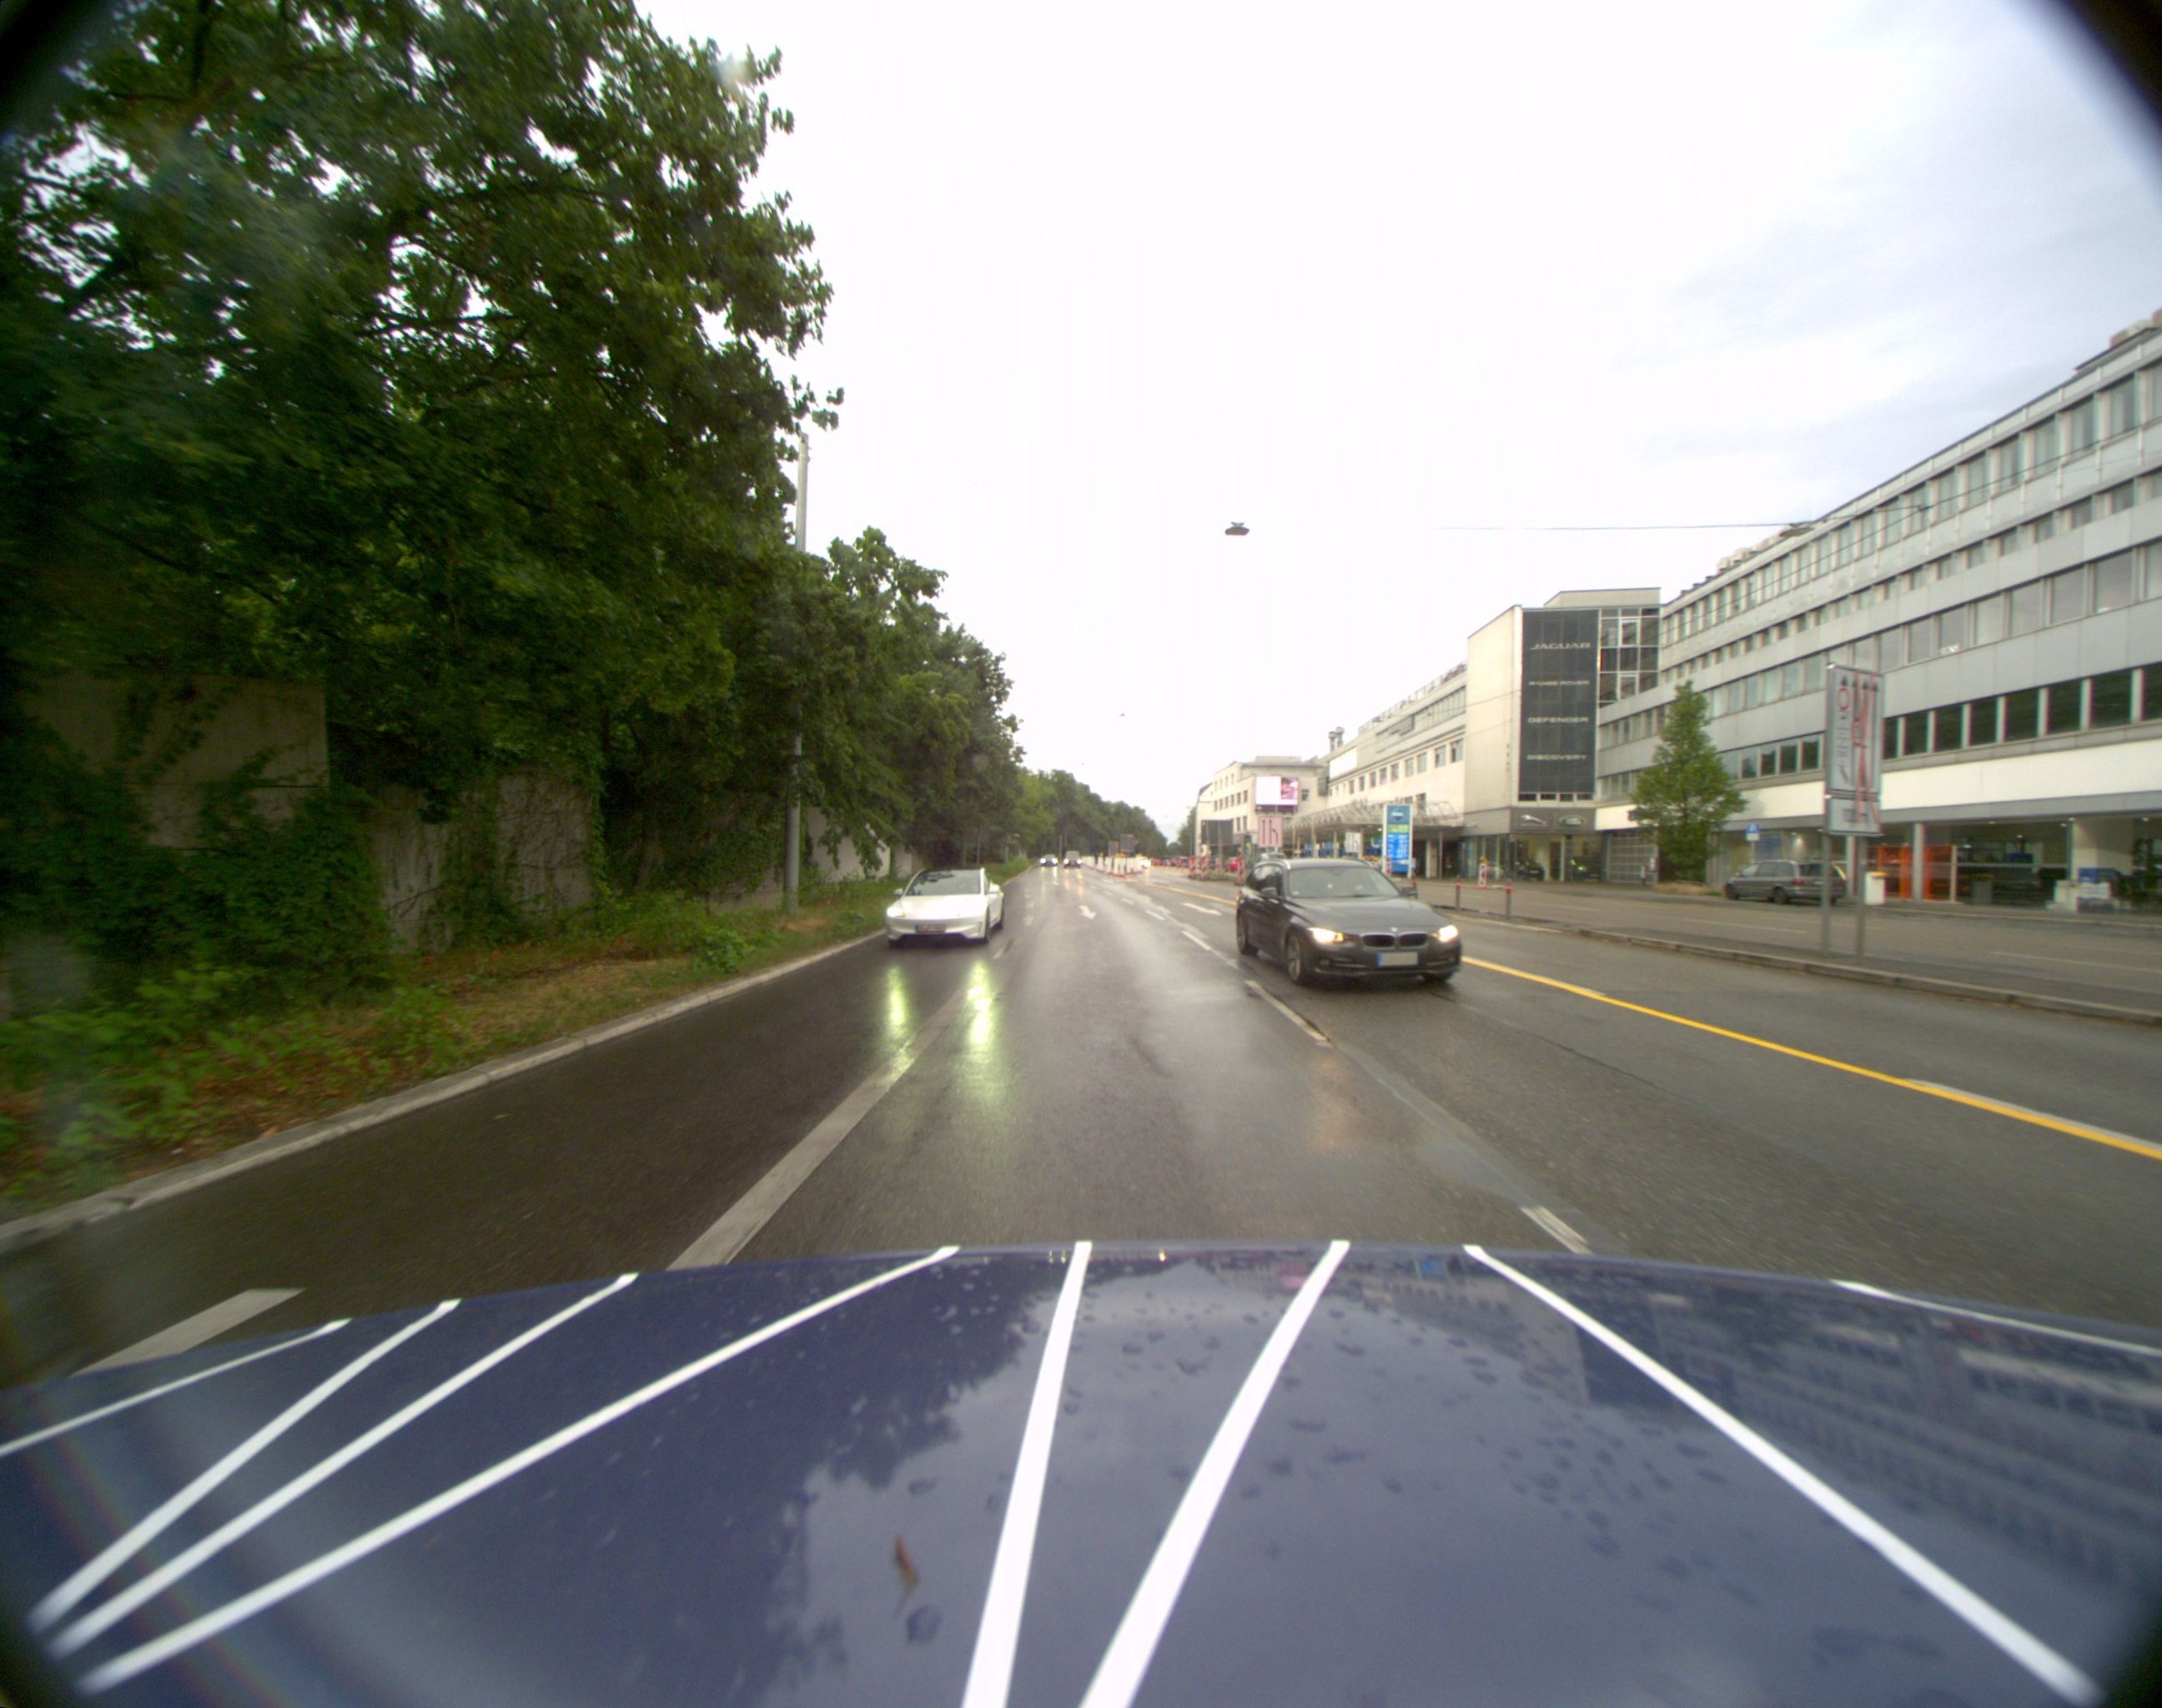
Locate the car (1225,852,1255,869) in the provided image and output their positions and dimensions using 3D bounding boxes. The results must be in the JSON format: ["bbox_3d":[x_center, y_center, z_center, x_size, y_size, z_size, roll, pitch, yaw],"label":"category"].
[{"bbox_3d":[14.993,0.622,71.871,1.834,1.493,4.372,2,0,-1],"label":"car"}]

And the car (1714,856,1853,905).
[{"bbox_3d":[28.500,0.998,31.059,1.851,1.768,4.733,2,0,10],"label":"car"}]

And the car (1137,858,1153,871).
[{"bbox_3d":[7.905,1.267,94.504,1.649,1.477,4.000,2,0,1],"label":"car"}]

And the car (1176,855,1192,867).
[{"bbox_3d":[14.983,1.010,110.710,1.812,1.549,4.301,1,0,1],"label":"car"}]

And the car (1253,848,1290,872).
[{"bbox_3d":[15.122,0.431,60.491,1.738,1.775,4.301,2,0,0],"label":"car"}]

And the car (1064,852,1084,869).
[{"bbox_3d":[-0.765,0.637,82.128,1.998,1.740,4.000,2,0,1],"label":"car"}]

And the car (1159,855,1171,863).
[{"bbox_3d":[17.905,1.074,162.252,1.985,1.697,4.830,1,0,-2],"label":"car"}]

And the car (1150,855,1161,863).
[{"bbox_3d":[13.388,0.847,137.169,1.693,1.346,4.115,2,0,2],"label":"car"}]

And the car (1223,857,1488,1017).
[{"bbox_3d":[3.212,0.855,9.870,1.764,1.441,4.176,-3,1,-2],"label":"car"}]

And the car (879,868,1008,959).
[{"bbox_3d":[-2.600,1.074,15.352,1.840,1.424,4.272,-2,1,-1],"label":"car"}]

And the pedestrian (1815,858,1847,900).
[{"bbox_3d":[31.031,1.030,31.439,0.719,1.722,0.538,2,1,14],"label":"pedestrian"}]

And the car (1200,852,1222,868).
[{"bbox_3d":[15.122,0.654,88.523,1.850,1.727,4.604,1,0,0],"label":"car"}]

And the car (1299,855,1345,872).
[{"bbox_3d":[26.739,1.041,84.445,4.432,1.760,1.972,3,1,40],"label":"car"}]

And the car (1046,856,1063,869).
[{"bbox_3d":[-3.146,1.002,91.543,1.742,1.477,3.918,-2,0,1],"label":"car"}]

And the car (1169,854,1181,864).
[{"bbox_3d":[16.692,0.868,135.291,1.756,1.505,4.000,2,1,3],"label":"car"}]
